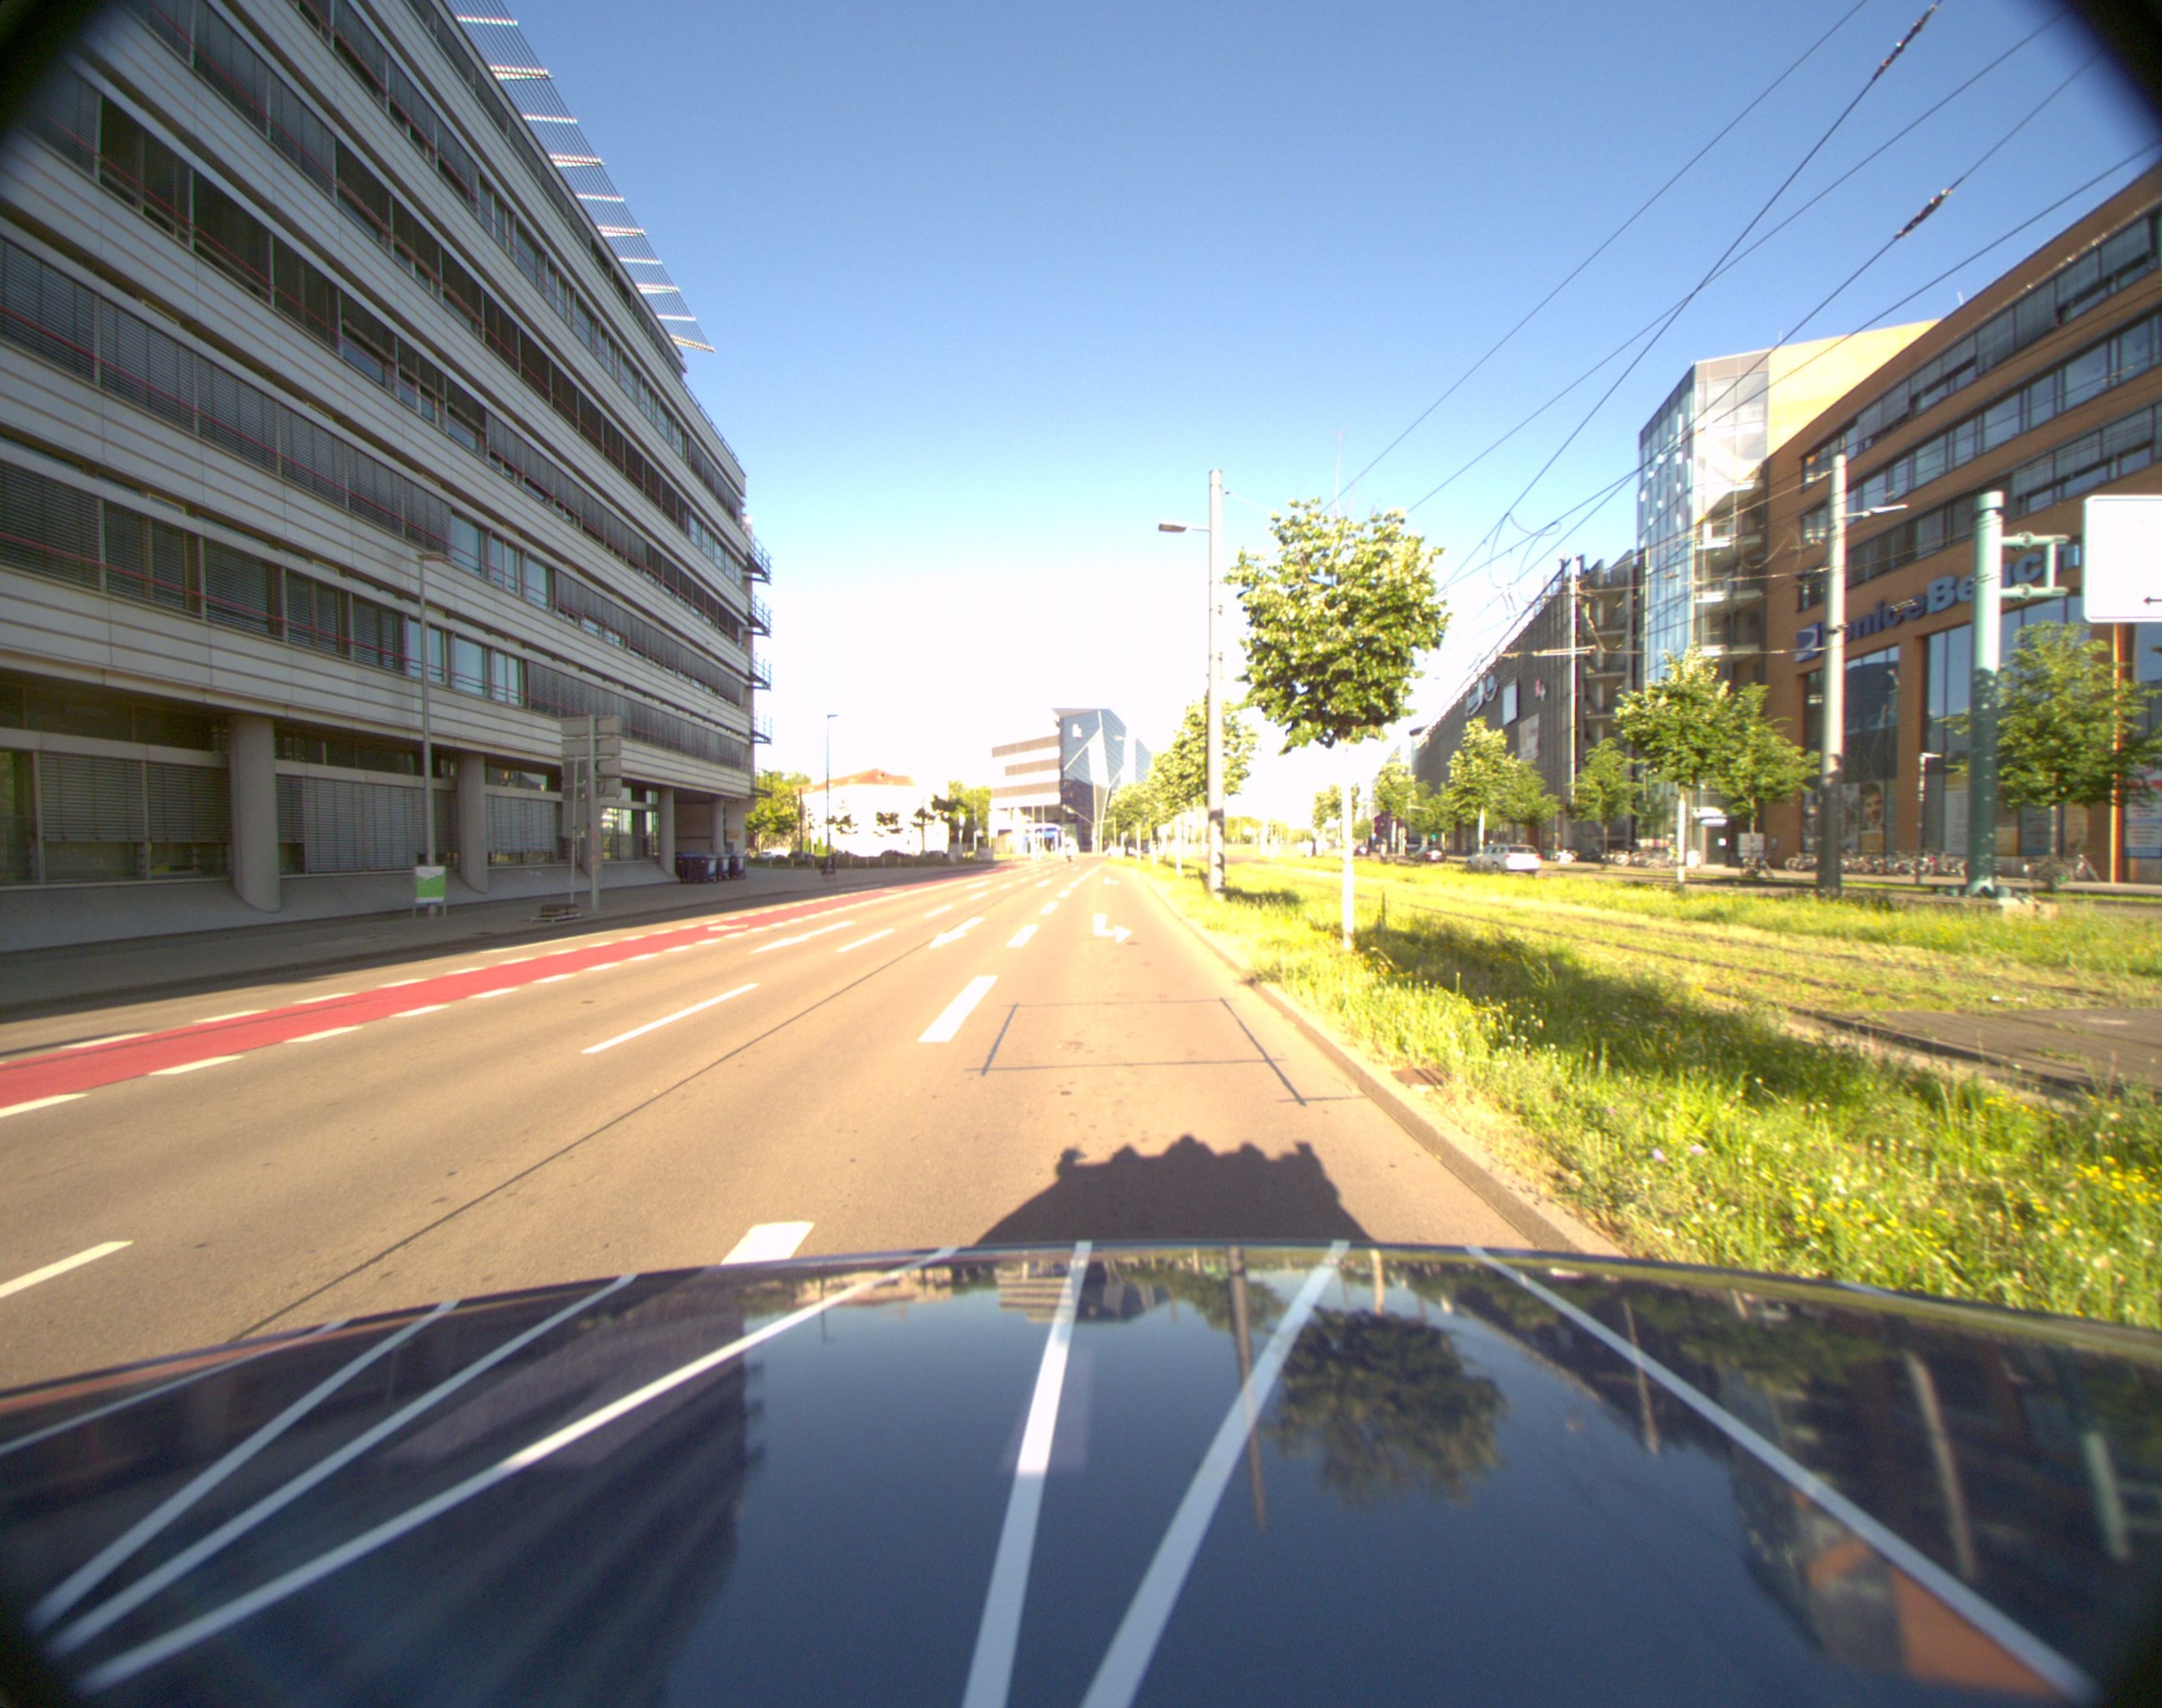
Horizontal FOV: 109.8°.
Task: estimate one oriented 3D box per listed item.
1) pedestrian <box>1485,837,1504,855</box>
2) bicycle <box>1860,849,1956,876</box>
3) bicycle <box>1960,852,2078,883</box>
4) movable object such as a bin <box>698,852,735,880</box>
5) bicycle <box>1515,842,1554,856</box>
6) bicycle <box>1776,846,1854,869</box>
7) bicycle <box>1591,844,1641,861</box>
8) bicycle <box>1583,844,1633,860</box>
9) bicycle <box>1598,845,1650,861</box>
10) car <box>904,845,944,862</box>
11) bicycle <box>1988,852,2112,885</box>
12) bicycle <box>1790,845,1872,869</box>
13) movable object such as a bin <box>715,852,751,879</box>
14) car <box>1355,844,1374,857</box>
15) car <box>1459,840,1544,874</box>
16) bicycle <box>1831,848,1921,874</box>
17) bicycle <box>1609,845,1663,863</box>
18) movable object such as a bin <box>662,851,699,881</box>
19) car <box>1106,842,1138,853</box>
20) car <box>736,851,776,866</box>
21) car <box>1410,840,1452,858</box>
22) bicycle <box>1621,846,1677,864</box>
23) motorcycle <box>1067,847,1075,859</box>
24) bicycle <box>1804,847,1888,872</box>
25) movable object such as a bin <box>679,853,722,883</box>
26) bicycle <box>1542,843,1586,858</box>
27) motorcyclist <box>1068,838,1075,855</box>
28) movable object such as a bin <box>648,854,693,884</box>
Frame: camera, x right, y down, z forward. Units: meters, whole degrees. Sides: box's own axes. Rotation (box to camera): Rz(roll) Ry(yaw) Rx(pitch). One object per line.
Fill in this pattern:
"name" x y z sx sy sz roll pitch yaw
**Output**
"pedestrian" 38.290 -0.762 70.385 1.072 1.672 1.095 -1 1 -5
"bicycle" 34.535 0.340 31.766 2.687 1.097 0.896 0 1 11
"bicycle" 33.516 0.483 27.194 2.687 1.097 0.896 0 1 11
"movable object such as a bin" -17.927 0.576 37.396 1.173 1.294 1.328 -1 1 1
"bicycle" 37.983 -0.395 63.640 2.687 1.182 0.896 0 1 11
"bicycle" 35.805 0.163 37.102 2.687 1.097 0.896 0 1 11
"bicycle" 36.250 -0.095 51.528 2.687 1.097 0.826 0 1 11
"bicycle" 36.370 -0.117 52.438 2.687 1.097 0.896 0 1 11
"bicycle" 36.090 -0.067 50.554 2.687 1.097 0.896 0 1 11
"car" -15.343 -0.060 74.334 3.790 1.523 1.744 0 2 37
"bicycle" 33.316 0.489 26.166 2.687 1.097 0.896 0 1 11
"bicycle" 35.457 0.155 35.963 2.687 1.097 0.896 0 1 11
"movable object such as a bin" -17.734 0.566 38.739 1.173 1.294 1.328 -1 1 1
"car" 34.498 -0.444 92.441 1.624 1.519 4.359 1 1 14
"car" 20.099 0.090 36.547 1.626 1.519 4.803 -1 1 3
"bicycle" 34.609 0.306 33.104 2.687 1.097 0.896 0 1 11
"bicycle" 35.642 -0.010 48.858 2.687 1.097 0.896 0 1 11
"movable object such as a bin" -19.053 0.563 36.179 1.109 1.366 1.108 -1 1 1
"car" 5.833 -0.885 109.064 4.342 1.519 1.682 1 1 34
"car" -36.359 0.491 84.983 3.794 1.523 1.742 0 1 13
"car" 29.380 -0.443 63.870 1.626 1.519 4.355 0 1 1
"bicycle" 35.103 0.055 46.987 2.687 1.097 0.896 0 1 11
"motorcycle" -1.062 -0.137 83.418 0.821 1.214 2.254 0 1 -2
"bicycle" 34.942 0.255 34.741 2.687 1.097 0.896 0 1 11
"movable object such as a bin" -17.121 0.625 34.242 1.328 1.294 1.174 -1 1 1
"bicycle" 36.940 -0.245 58.178 2.687 1.097 0.896 0 1 11
"motorcyclist" -1.053 -0.877 83.524 0.821 1.847 1.112 0 2 -2
"movable object such as a bin" -18.485 0.675 34.251 1.328 1.294 1.174 -1 1 1
